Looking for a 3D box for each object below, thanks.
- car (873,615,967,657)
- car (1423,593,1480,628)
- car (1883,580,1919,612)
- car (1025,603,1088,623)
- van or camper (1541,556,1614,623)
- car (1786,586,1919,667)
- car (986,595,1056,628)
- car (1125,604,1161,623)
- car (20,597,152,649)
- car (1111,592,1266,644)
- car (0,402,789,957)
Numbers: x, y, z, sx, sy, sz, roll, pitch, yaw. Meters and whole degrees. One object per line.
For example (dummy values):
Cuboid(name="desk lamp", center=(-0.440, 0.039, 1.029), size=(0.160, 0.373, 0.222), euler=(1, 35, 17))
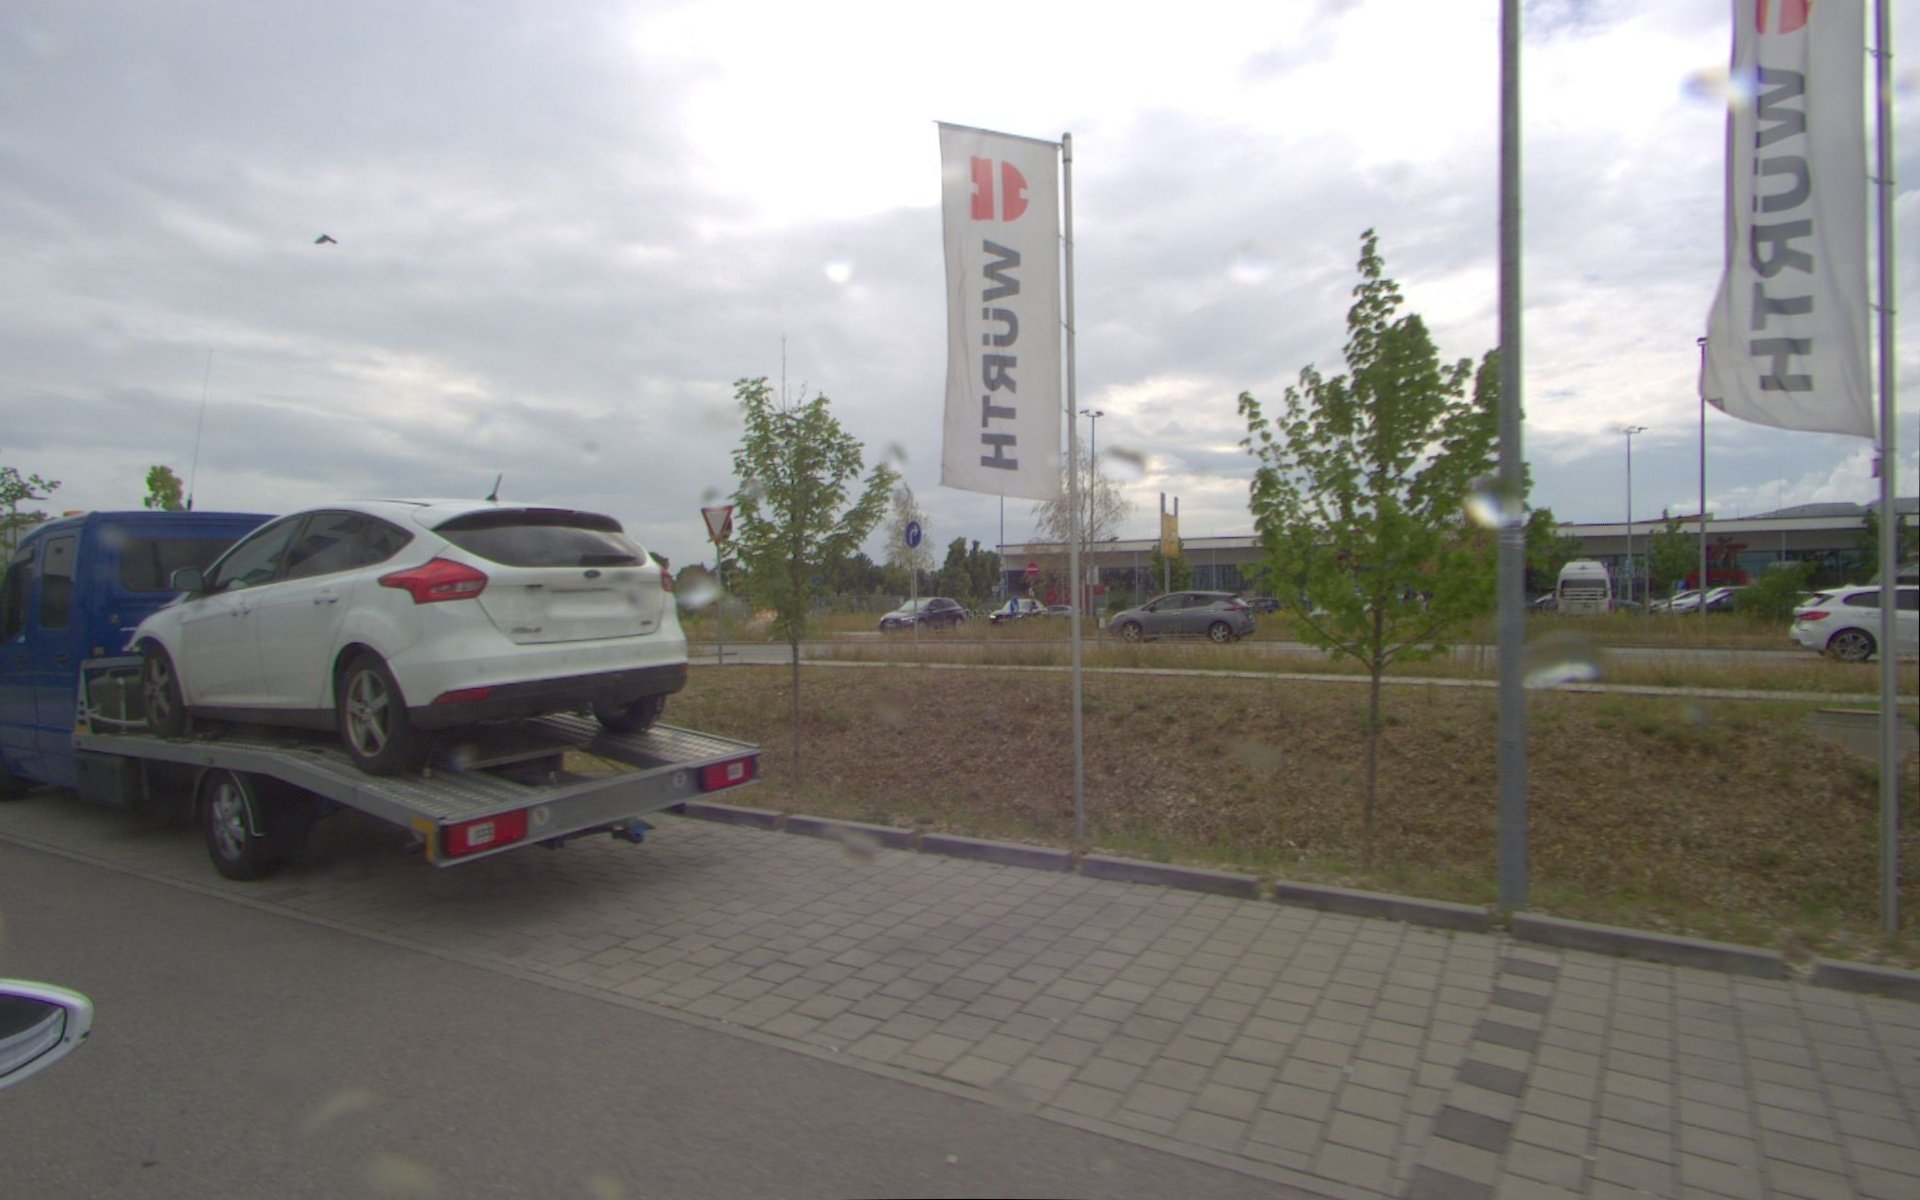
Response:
Cuboid(name="car", center=(-1.541, 1.385, 40.126), size=(1.771, 1.486, 4.300), euler=(0, 0, 30))
Cuboid(name="car", center=(21.365, 0.451, 43.433), size=(1.965, 1.470, 4.131), euler=(0, 0, 30))
Cuboid(name="car", center=(50.889, -0.195, 51.997), size=(3.931, 1.662, 1.872), euler=(0, 1, 21))
Cuboid(name="car", center=(6.588, 0.880, 68.590), size=(3.930, 1.369, 1.996), euler=(0, 0, 20))
Cuboid(name="van or camper", center=(24.770, -0.405, 40.109), size=(2.260, 2.526, 3.974), euler=(0, 1, 35))
Cuboid(name="car", center=(18.203, 0.474, 18.644), size=(4.192, 1.469, 1.790), euler=(-1, 0, 35))
Cuboid(name="car", center=(2.939, 0.535, 47.278), size=(1.757, 1.464, 4.594), euler=(0, -1, 25))
Cuboid(name="car", center=(14.169, 1.030, 77.376), size=(1.881, 1.463, 3.987), euler=(-1, 0, 24))
Cuboid(name="car", center=(-34.543, 0.859, 39.573), size=(4.765, 1.949, 1.994), euler=(0, 1, 22))
Cuboid(name="car", center=(6.870, 0.528, 30.160), size=(4.200, 1.475, 1.991), euler=(0, 0, 29))
Cuboid(name="car", center=(-4.864, 0.390, 7.317), size=(7.748, 2.353, 2.188), euler=(-1, 0, 34))
